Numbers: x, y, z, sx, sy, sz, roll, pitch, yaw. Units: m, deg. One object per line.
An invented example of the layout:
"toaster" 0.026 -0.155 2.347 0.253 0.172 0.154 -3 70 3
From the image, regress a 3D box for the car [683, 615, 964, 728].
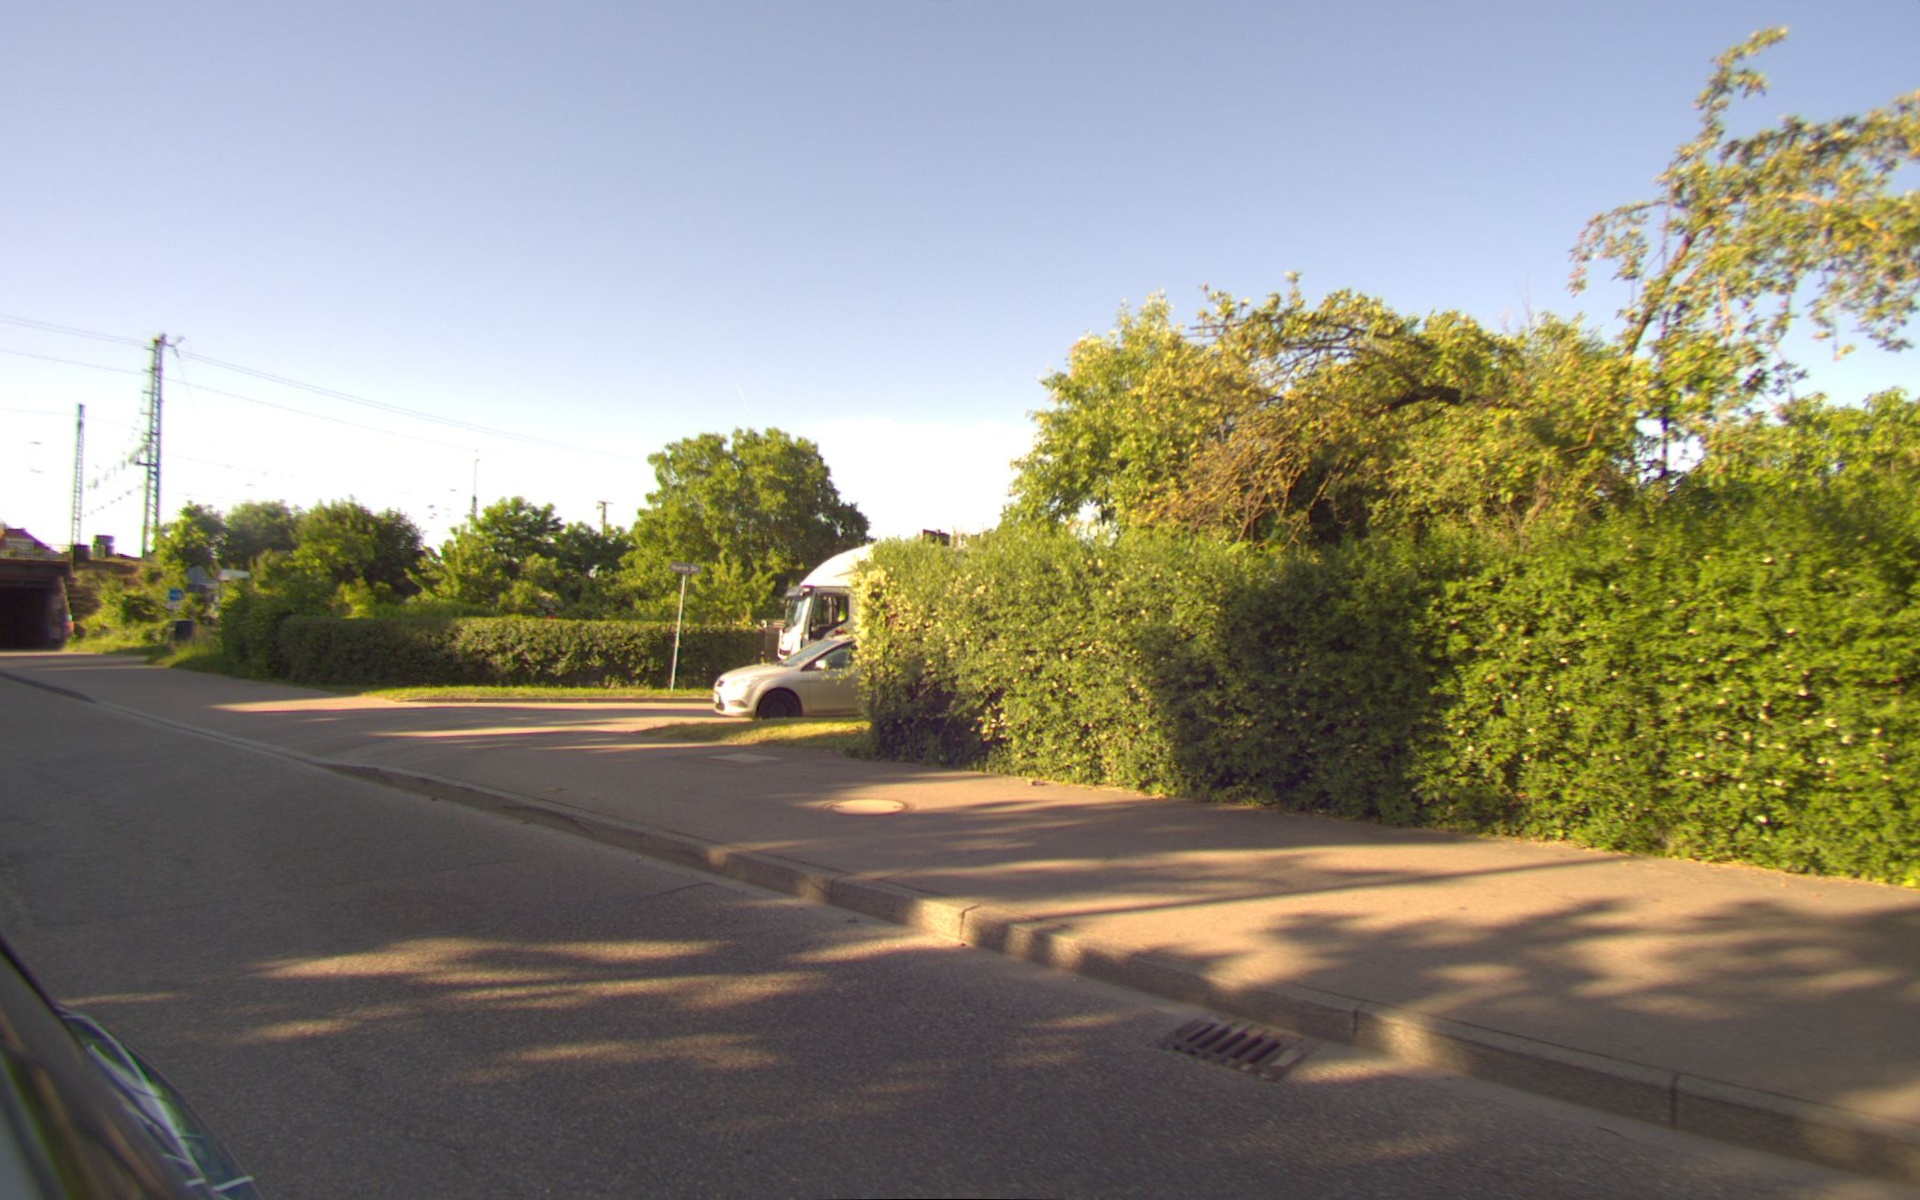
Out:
"car" -2.225 1.070 16.443 4.151 1.501 1.883 -1 1 -23

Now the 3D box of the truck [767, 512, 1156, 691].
"truck" 0.092 0.032 24.972 9.173 3.912 2.720 0 1 -20
